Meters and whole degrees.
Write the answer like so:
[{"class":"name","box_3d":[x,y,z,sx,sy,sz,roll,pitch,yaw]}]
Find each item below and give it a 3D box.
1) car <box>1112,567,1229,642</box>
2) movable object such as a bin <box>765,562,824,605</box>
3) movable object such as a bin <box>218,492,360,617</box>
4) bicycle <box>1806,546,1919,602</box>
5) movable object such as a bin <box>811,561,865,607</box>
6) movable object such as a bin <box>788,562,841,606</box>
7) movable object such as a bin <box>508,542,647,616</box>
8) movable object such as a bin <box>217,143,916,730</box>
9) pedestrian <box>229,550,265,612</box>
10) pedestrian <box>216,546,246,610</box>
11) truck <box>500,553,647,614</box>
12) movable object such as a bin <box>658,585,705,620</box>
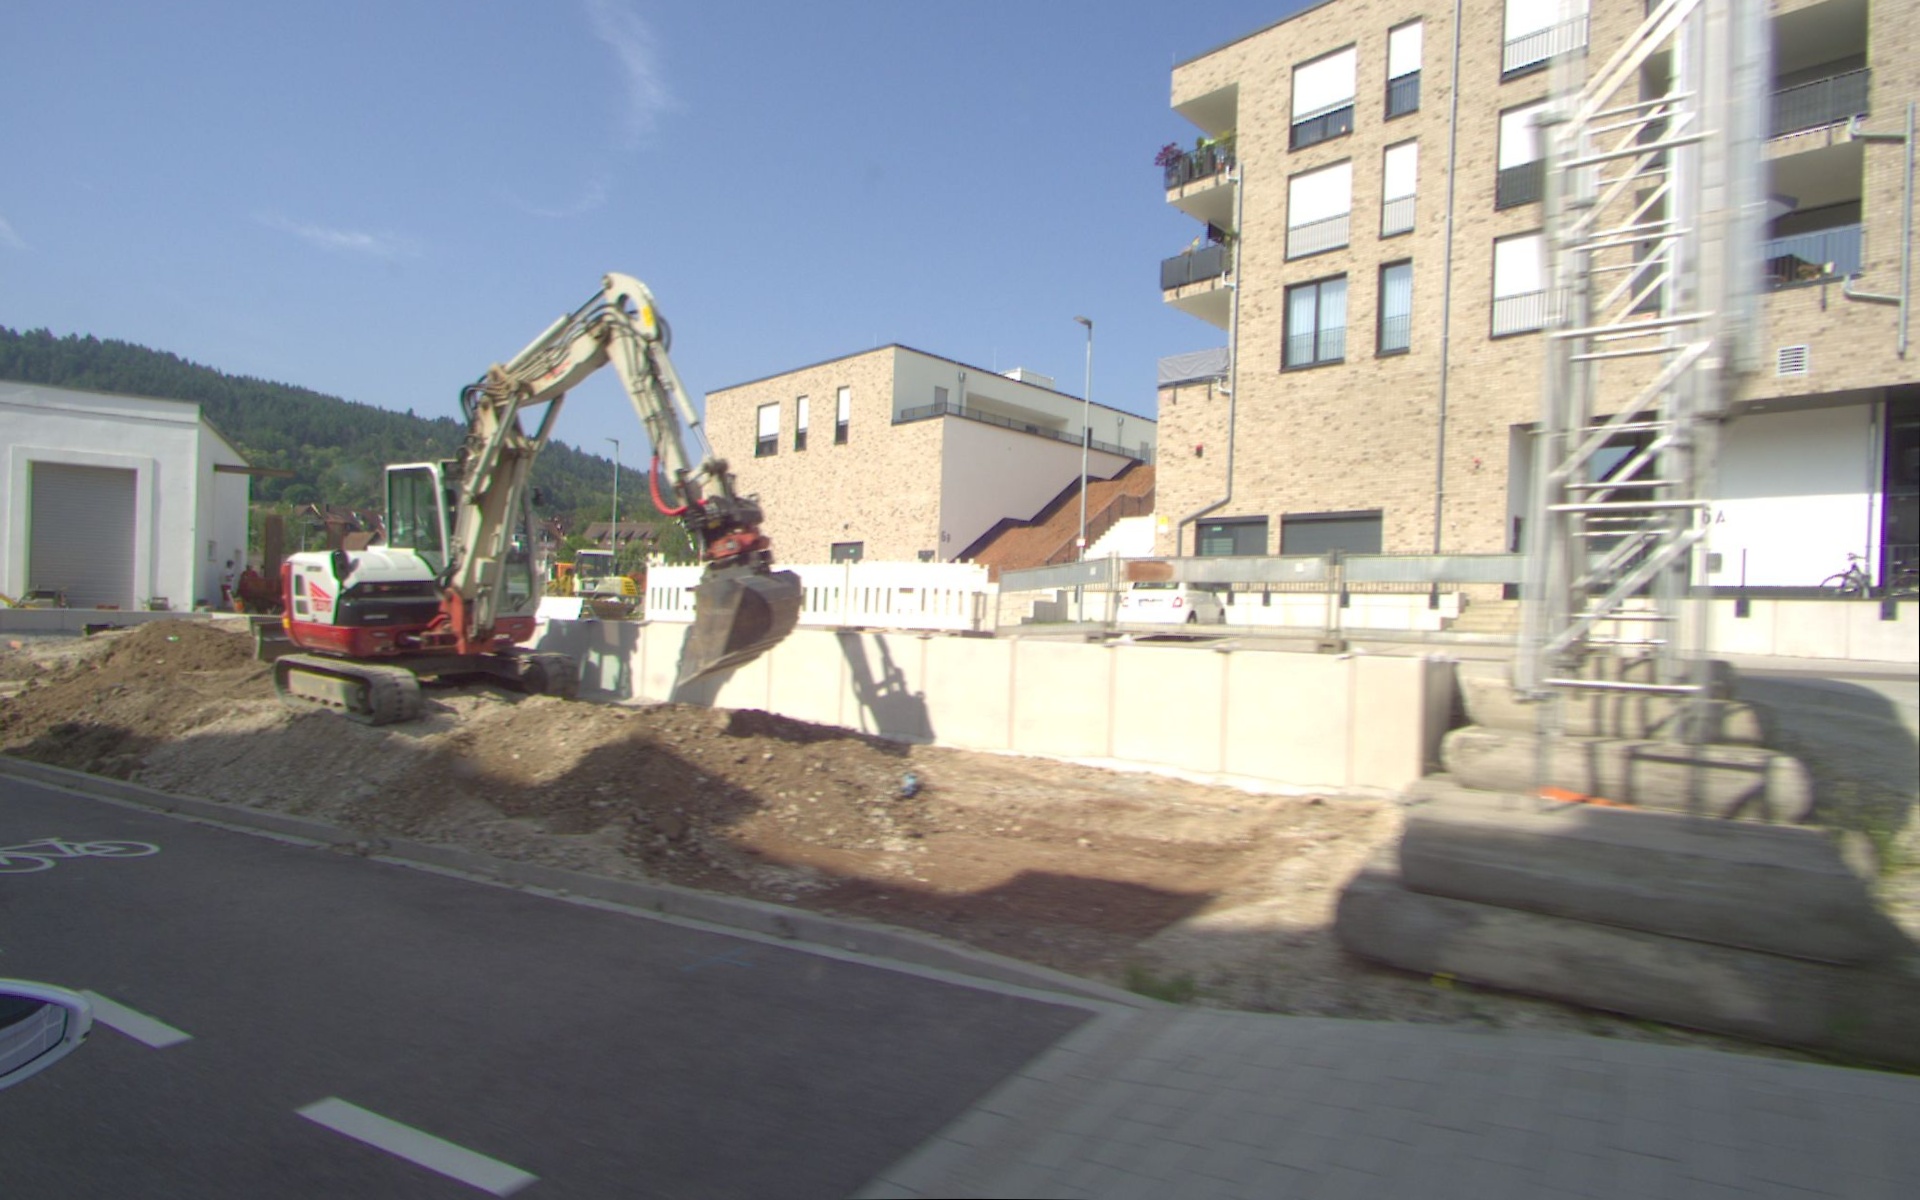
[{"class":"car","box_3d":[4.720,0.116,22.139,1.570,1.514,3.400,0,-1,30]},{"class":"movable object such as a bin","box_3d":[-6.297,-0.623,38.042,1.304,1.482,1.687,2,-3,41]},{"class":"movable object such as a bin","box_3d":[-22.592,-1.370,34.056,2.815,3.667,5.715,5,-2,-24]},{"class":"bicycle","box_3d":[18.878,-0.535,20.560,0.688,1.058,2.221,6,-3,-44]},{"class":"movable object such as a bin","box_3d":[-4.350,-0.574,35.843,1.304,1.482,1.294,2,-2,41]},{"class":"movable object such as a bin","box_3d":[-5.352,-0.603,36.904,1.304,1.482,1.294,2,-2,41]},{"class":"movable object such as a bin","box_3d":[-14.297,-0.713,37.547,4.567,2.603,1.912,1,0,-34]},{"class":"movable object such as a bin","box_3d":[-4.258,-1.065,9.767,7.692,3.901,2.291,1,-3,35]},{"class":"pedestrian","box_3d":[-23.036,-0.600,32.361,0.625,1.920,0.607,4,-2,-14]},{"class":"pedestrian","box_3d":[-22.831,-0.682,31.359,0.600,1.920,0.632,5,-2,-33]},{"class":"truck","box_3d":[-15.726,-0.631,40.835,5.262,2.295,2.204,1,0,-34]},{"class":"movable object such as a bin","box_3d":[-11.385,0.094,40.953,1.304,1.283,1.291,2,-3,41]}]
